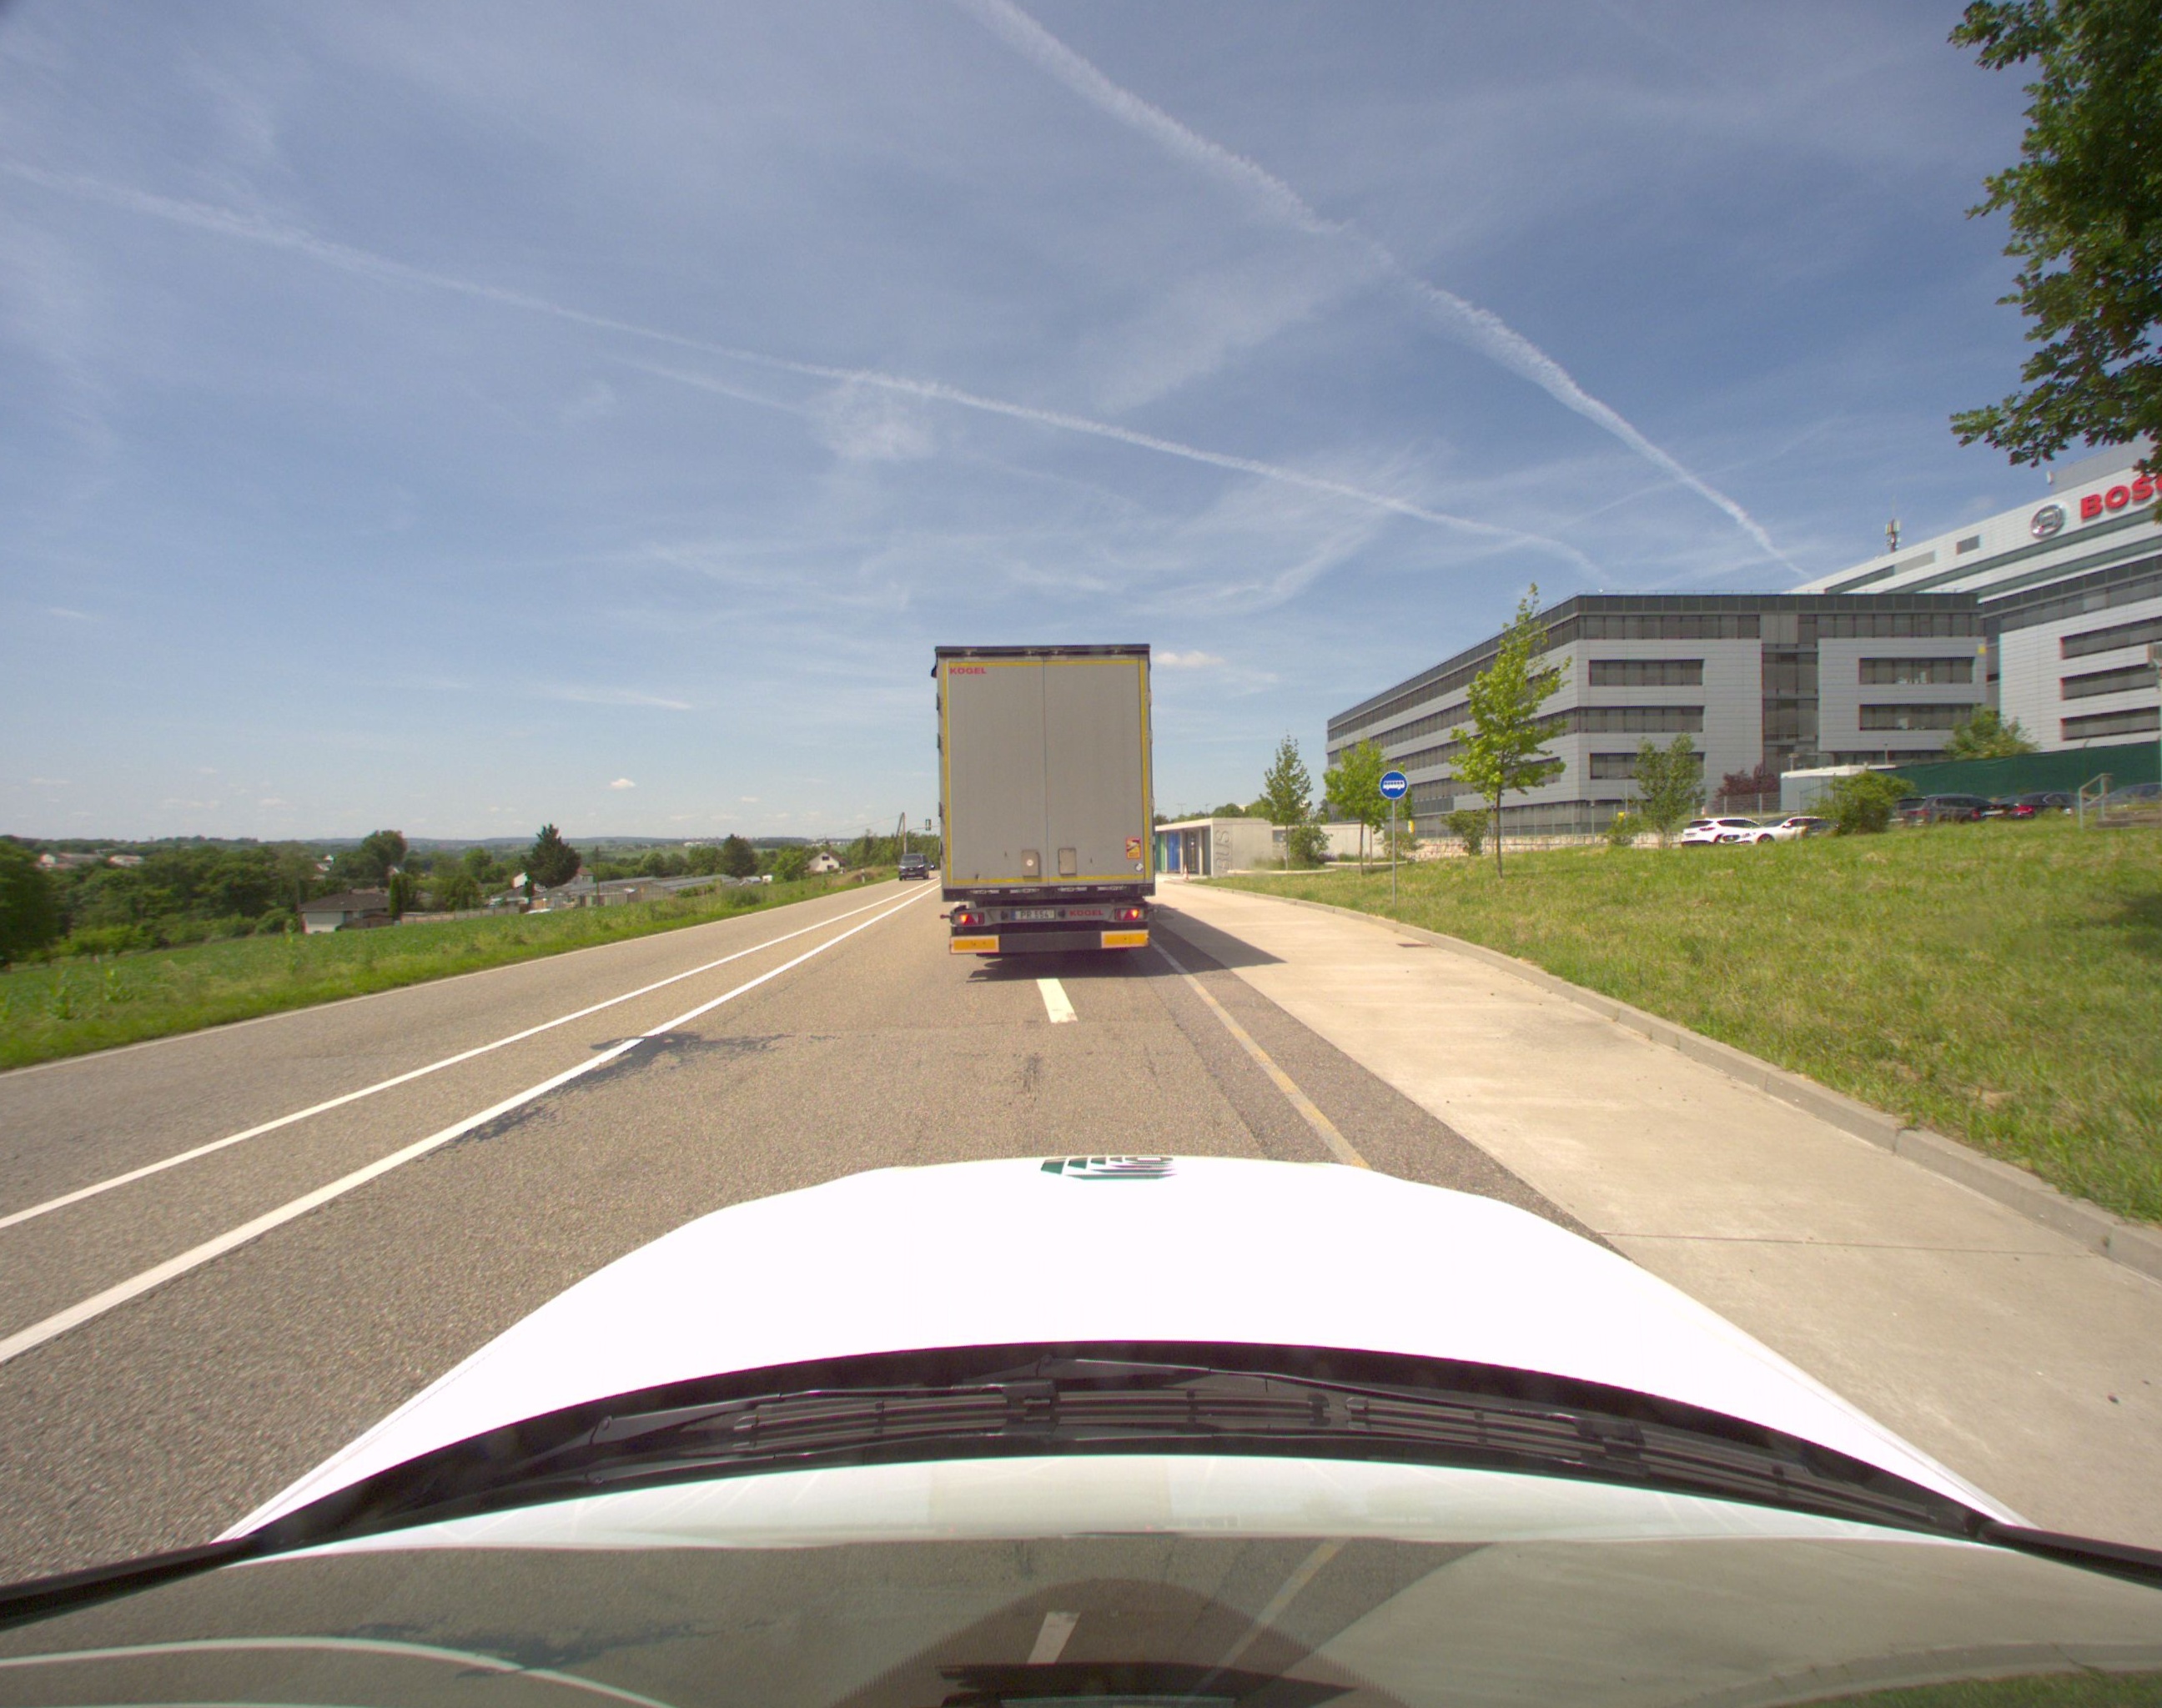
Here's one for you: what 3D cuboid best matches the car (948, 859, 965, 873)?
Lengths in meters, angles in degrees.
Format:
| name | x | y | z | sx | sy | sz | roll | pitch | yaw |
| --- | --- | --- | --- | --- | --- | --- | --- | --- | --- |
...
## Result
| name | x | y | z | sx | sy | sz | roll | pitch | yaw |
| --- | --- | --- | --- | --- | --- | --- | --- | --- | --- |
| car | -17.858 | 1.703 | 116.979 | 1.991 | 1.815 | 4.286 | -3 | 0 | -6 |

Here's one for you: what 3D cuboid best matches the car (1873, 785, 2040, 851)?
| name | x | y | z | sx | sy | sz | roll | pitch | yaw |
| --- | --- | --- | --- | --- | --- | --- | --- | --- | --- |
| car | 30.424 | -1.225 | 28.376 | 3.979 | 1.921 | 1.754 | -5 | -1 | -4 |

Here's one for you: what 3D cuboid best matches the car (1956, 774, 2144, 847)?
| name | x | y | z | sx | sy | sz | roll | pitch | yaw |
| --- | --- | --- | --- | --- | --- | --- | --- | --- | --- |
| car | 30.902 | -1.349 | 26.049 | 3.979 | 1.921 | 1.754 | -5 | -1 | -4 |

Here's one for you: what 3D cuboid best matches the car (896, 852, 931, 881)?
| name | x | y | z | sx | sy | sz | roll | pitch | yaw |
| --- | --- | --- | --- | --- | --- | --- | --- | --- | --- |
| car | -12.629 | 0.940 | 61.684 | 1.991 | 1.978 | 5.267 | -3 | 0 | -6 |

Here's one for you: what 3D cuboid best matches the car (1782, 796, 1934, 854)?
| name | x | y | z | sx | sy | sz | roll | pitch | yaw |
| --- | --- | --- | --- | --- | --- | --- | --- | --- | --- |
| car | 29.818 | -1.094 | 31.350 | 3.979 | 1.814 | 1.975 | -5 | -1 | -4 |

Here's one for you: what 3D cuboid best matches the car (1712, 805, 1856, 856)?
| name | x | y | z | sx | sy | sz | roll | pitch | yaw |
| --- | --- | --- | --- | --- | --- | --- | --- | --- | --- |
| car | 30.327 | -0.973 | 35.205 | 4.541 | 1.766 | 1.976 | -5 | -1 | -4 |

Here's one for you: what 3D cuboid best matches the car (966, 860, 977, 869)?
| name | x | y | z | sx | sy | sz | roll | pitch | yaw |
| --- | --- | --- | --- | --- | --- | --- | --- | --- | --- |
| car | -27.196 | 2.626 | 202.216 | 2.167 | 2.013 | 4.519 | -3 | 0 | -4 |

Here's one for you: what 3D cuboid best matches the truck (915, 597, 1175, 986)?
| name | x | y | z | sx | sy | sz | roll | pitch | yaw |
| --- | --- | --- | --- | --- | --- | --- | --- | --- | --- |
| truck | -0.606 | -0.732 | 13.735 | 2.900 | 4.410 | 8.850 | -1 | 0 | -3 |

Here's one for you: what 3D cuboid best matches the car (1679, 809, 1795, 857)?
| name | x | y | z | sx | sy | sz | roll | pitch | yaw |
| --- | --- | --- | --- | --- | --- | --- | --- | --- | --- |
| car | 30.413 | -0.950 | 37.806 | 3.979 | 1.814 | 1.754 | -5 | -1 | -4 |

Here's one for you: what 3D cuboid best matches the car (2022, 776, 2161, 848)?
| name | x | y | z | sx | sy | sz | roll | pitch | yaw |
| --- | --- | --- | --- | --- | --- | --- | --- | --- | --- |
| car | 30.485 | -1.267 | 23.553 | 4.344 | 1.814 | 1.975 | -5 | -1 | -4 |
